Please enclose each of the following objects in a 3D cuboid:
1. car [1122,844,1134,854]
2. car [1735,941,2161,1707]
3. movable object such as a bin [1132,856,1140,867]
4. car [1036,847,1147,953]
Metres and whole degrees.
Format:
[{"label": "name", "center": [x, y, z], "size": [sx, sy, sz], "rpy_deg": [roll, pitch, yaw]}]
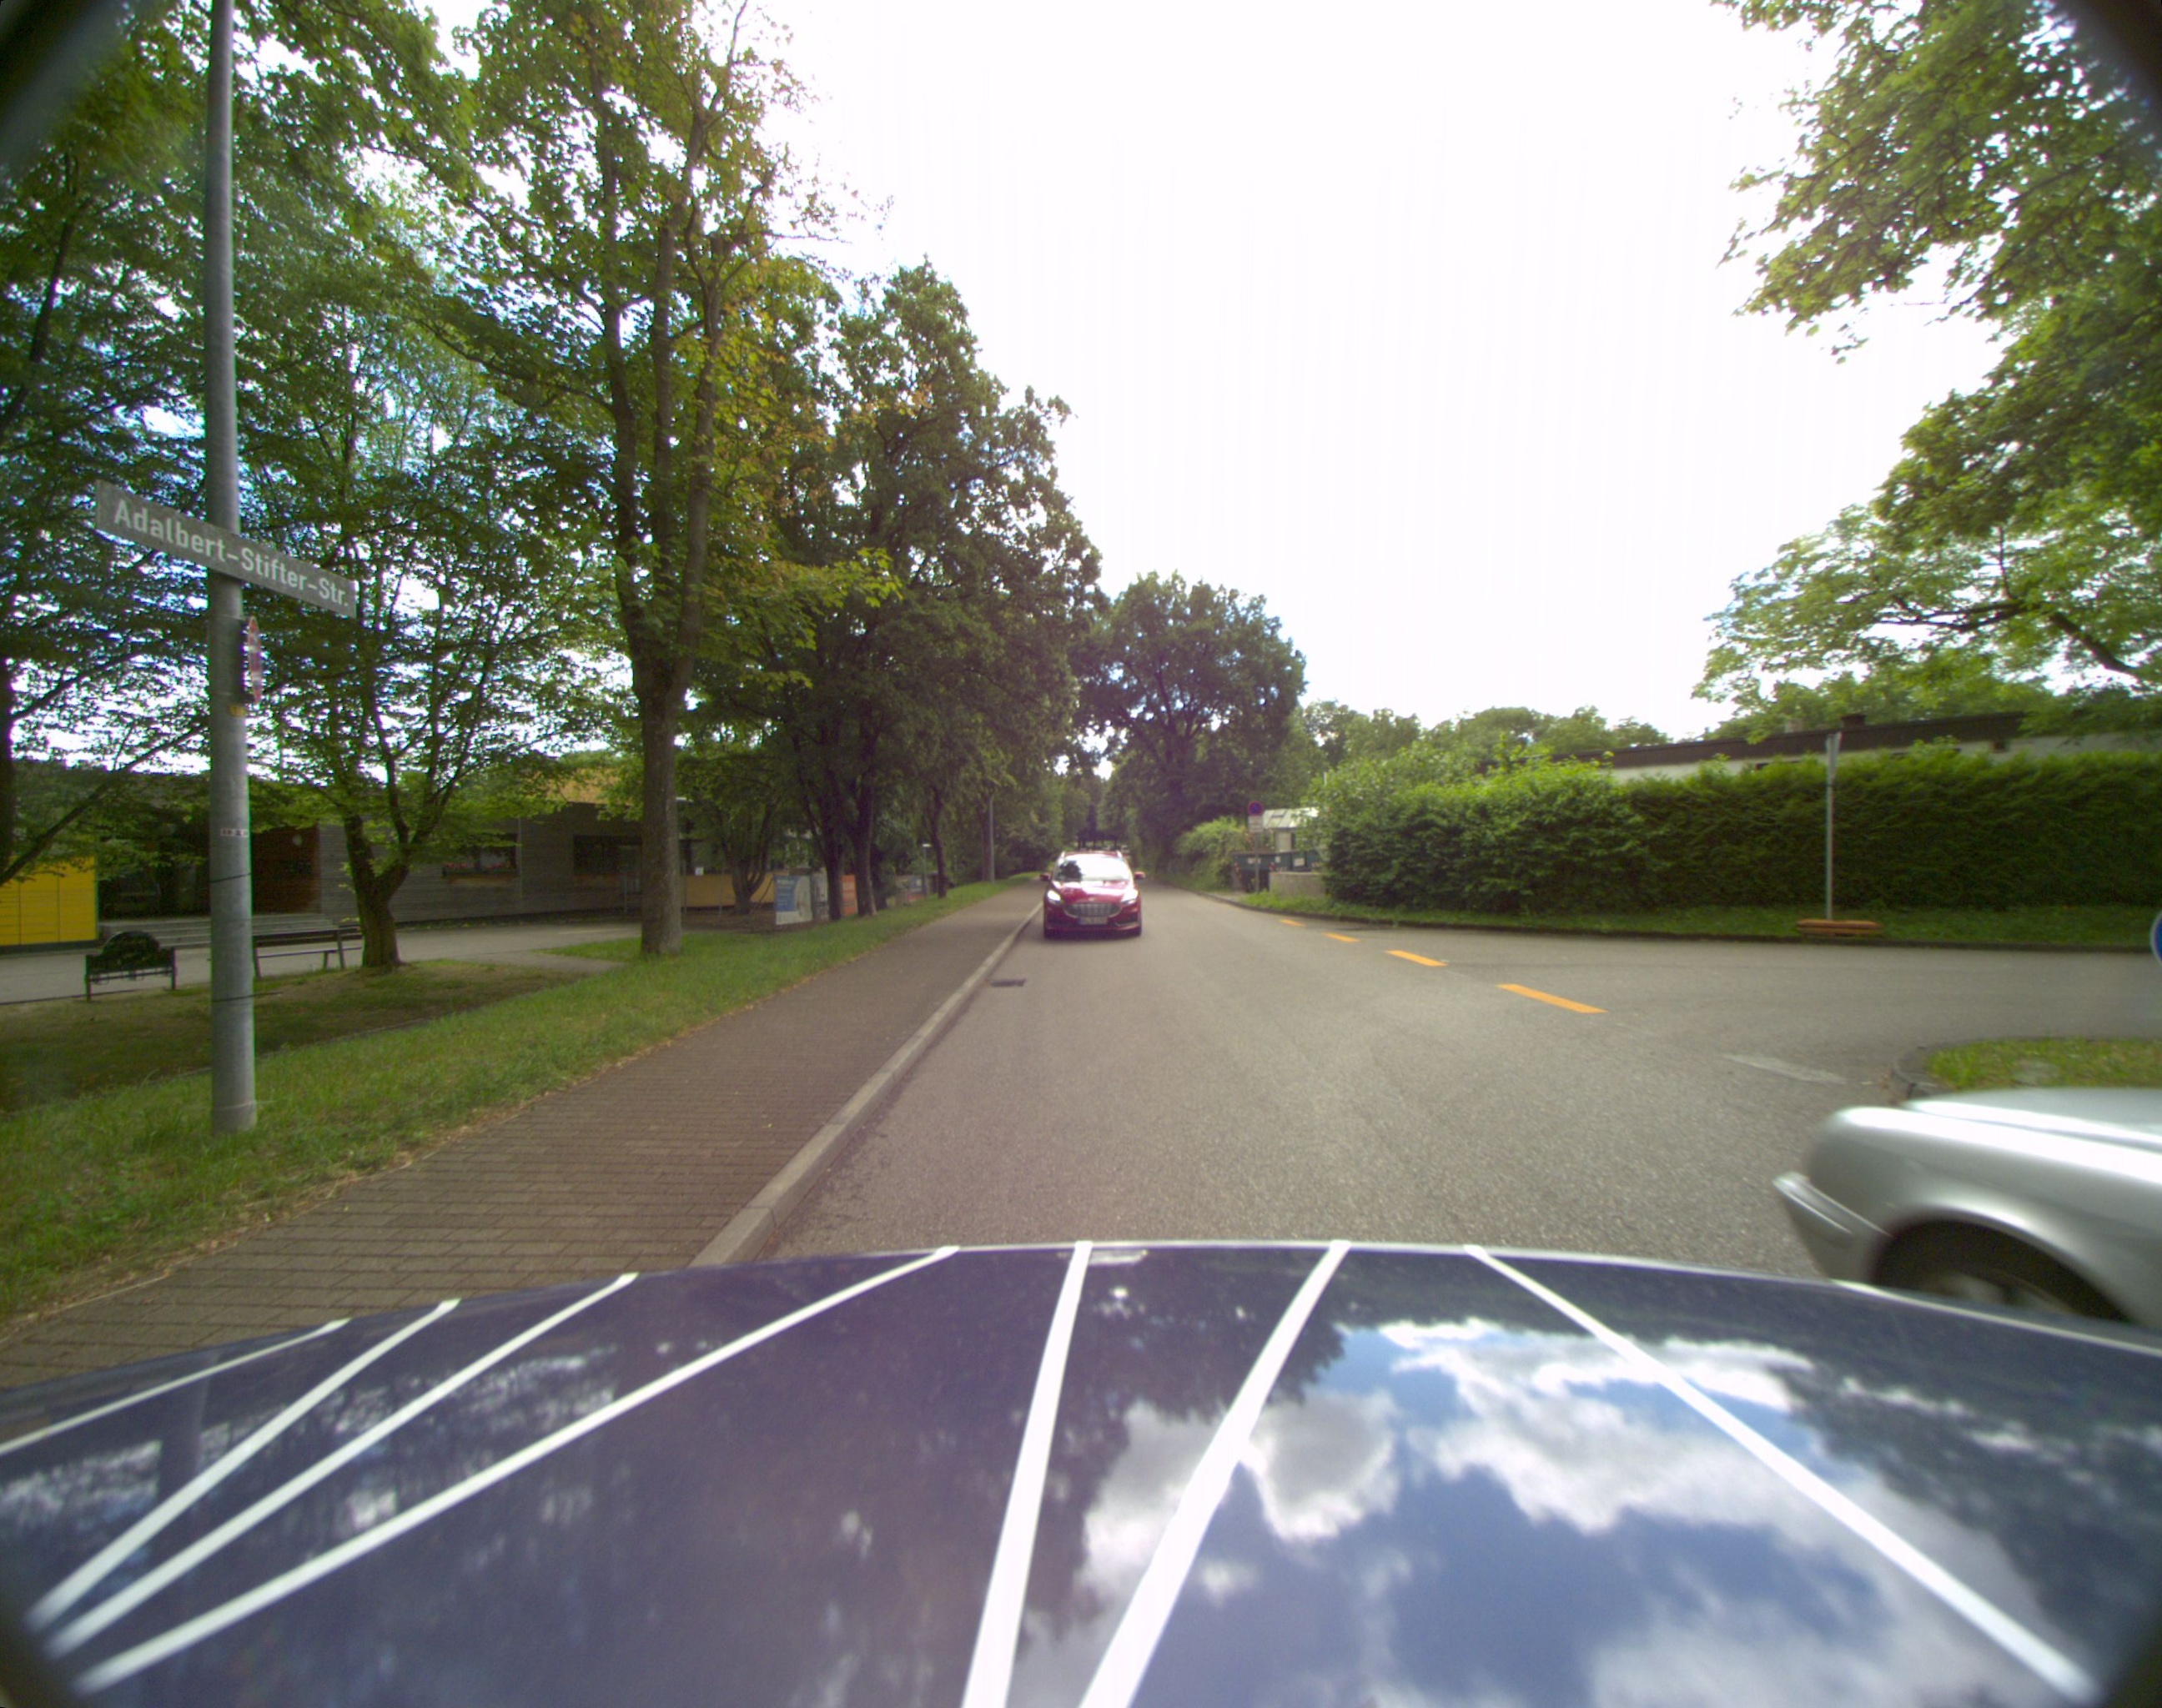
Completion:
[{"label": "car", "center": [8.726, -0.910, 141.028], "size": [1.878, 1.903, 4.430], "rpy_deg": [0, 1, 0]}, {"label": "car", "center": [2.913, 0.919, 0.157], "size": [1.786, 1.299, 4.295], "rpy_deg": [-2, 0, -1]}, {"label": "movable object such as a bin", "center": [5.324, 0.692, 73.585], "size": [0.649, 1.007, 0.632], "rpy_deg": [1, 2, 16]}, {"label": "car", "center": [0.351, 0.773, 15.025], "size": [1.816, 1.718, 4.001], "rpy_deg": [1, 2, 6]}]
